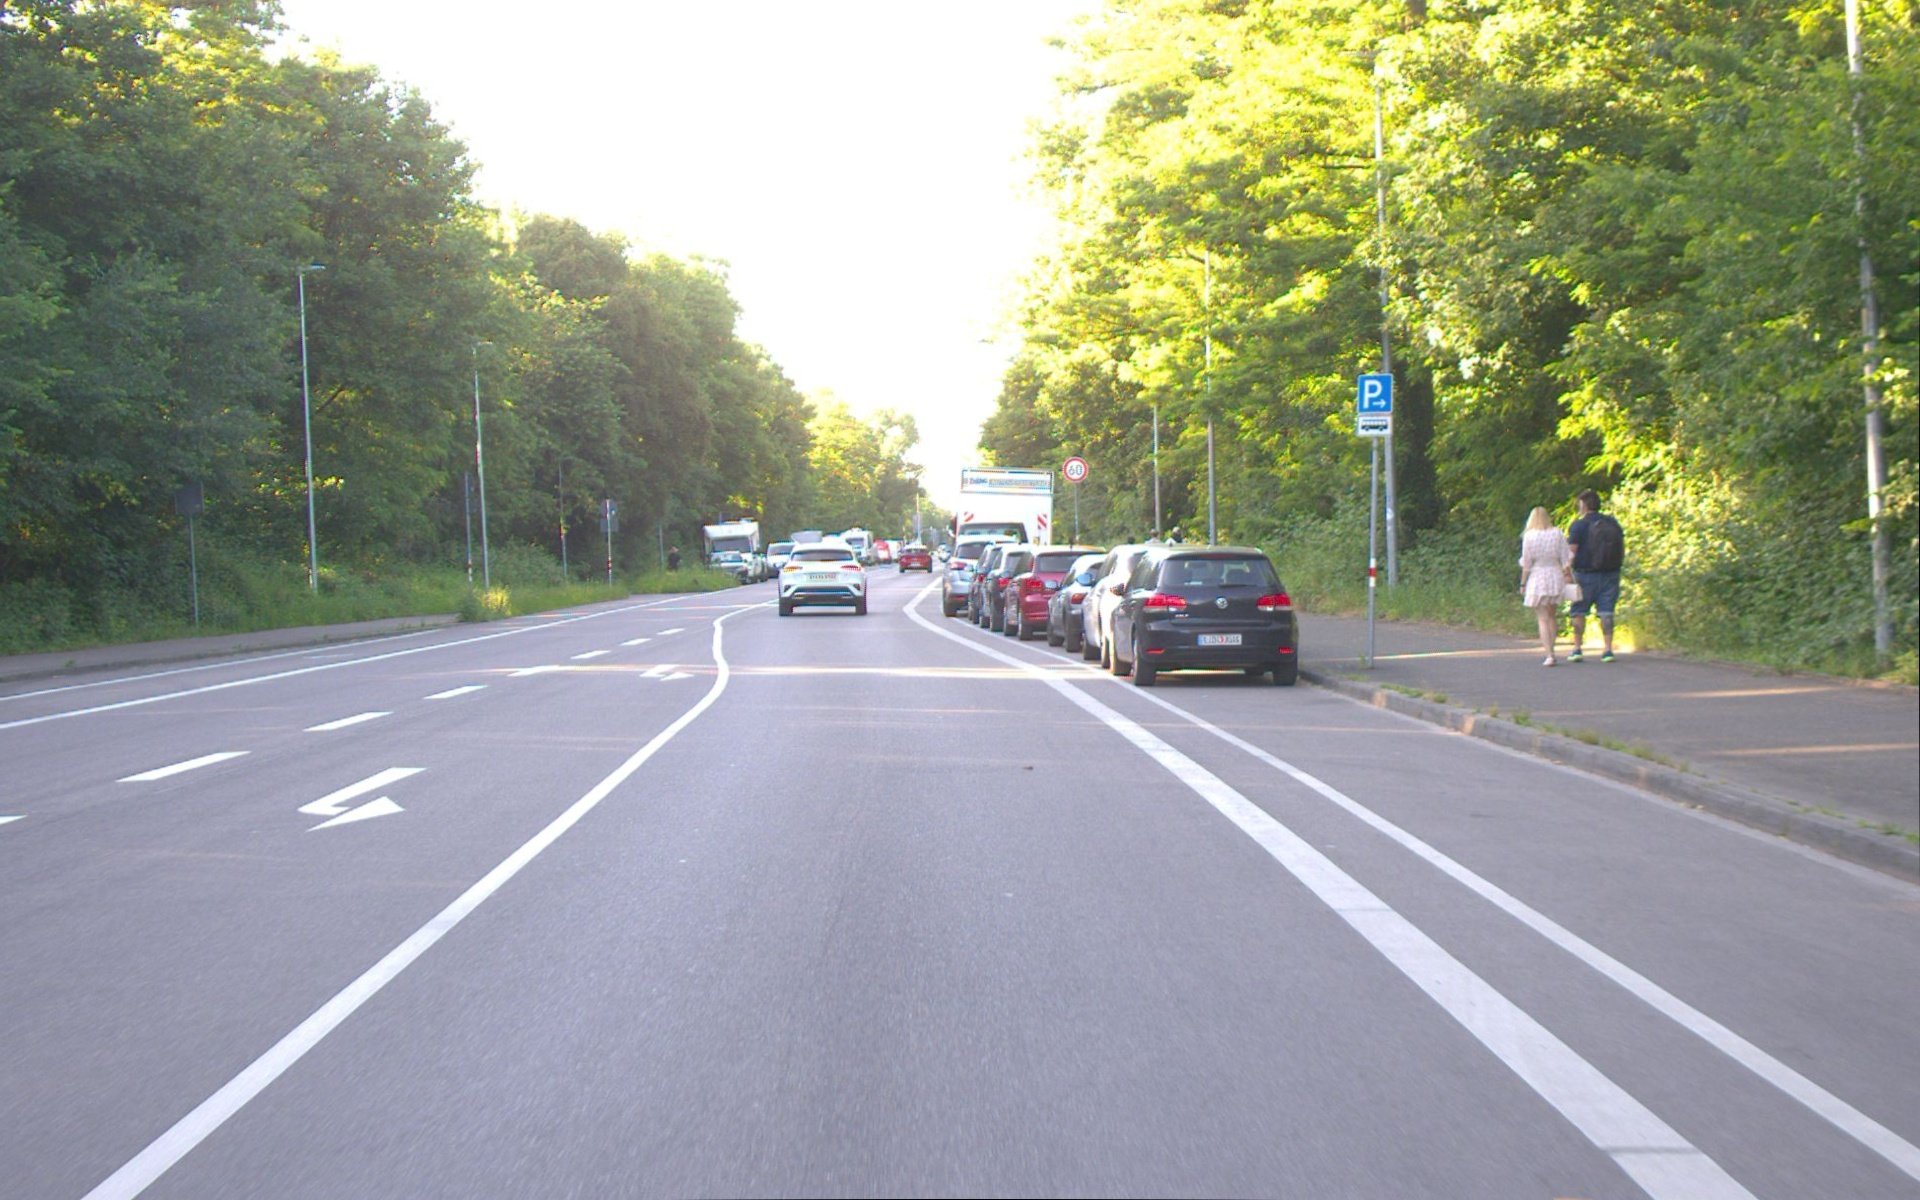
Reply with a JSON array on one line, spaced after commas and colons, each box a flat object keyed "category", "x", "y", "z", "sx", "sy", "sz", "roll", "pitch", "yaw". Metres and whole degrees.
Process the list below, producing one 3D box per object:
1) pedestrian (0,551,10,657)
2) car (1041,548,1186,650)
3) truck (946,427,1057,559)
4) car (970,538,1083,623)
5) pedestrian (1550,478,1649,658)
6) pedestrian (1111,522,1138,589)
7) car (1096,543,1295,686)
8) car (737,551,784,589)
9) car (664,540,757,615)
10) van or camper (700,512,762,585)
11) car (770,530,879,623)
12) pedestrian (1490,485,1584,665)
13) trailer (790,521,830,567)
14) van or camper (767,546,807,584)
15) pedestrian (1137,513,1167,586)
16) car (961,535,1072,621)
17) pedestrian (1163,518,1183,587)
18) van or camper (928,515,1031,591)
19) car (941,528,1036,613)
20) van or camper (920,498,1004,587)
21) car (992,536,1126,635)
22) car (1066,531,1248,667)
[{"category": "pedestrian", "x": -15.189, "y": 0.073, "z": 53.177, "sx": 0.675, "sy": 1.647, "sz": 0.790, "roll": -2, "pitch": 1, "yaw": 5}, {"category": "car", "x": 2.093, "y": -0.046, "z": 47.772, "sx": 1.628, "sy": 1.315, "sz": 3.841, "roll": -1, "pitch": 1, "yaw": -3}, {"category": "truck", "x": 1.104, "y": -2.986, "z": 97.030, "sx": 2.832, "sy": 3.485, "sz": 8.579, "roll": -2, "pitch": 1, "yaw": -1}, {"category": "car", "x": 1.114, "y": -0.362, "z": 59.155, "sx": 1.594, "sy": 1.396, "sz": 3.799, "roll": 0, "pitch": 1, "yaw": -4}, {"category": "pedestrian", "x": 6.602, "y": -0.337, "z": 35.506, "sx": 0.675, "sy": 1.792, "sz": 0.953, "roll": -4, "pitch": 1, "yaw": -5}, {"category": "pedestrian", "x": 3.943, "y": -1.067, "z": 82.343, "sx": 0.563, "sy": 1.582, "sz": 0.482, "roll": -2, "pitch": 1, "yaw": 0}, {"category": "car", "x": 2.529, "y": 0.116, "z": 37.703, "sx": 1.656, "sy": 1.447, "sz": 4.021, "roll": 1, "pitch": 1, "yaw": -3}, {"category": "car", "x": -8.329, "y": -1.268, "z": 143.742, "sx": 1.827, "sy": 1.471, "sz": 4.682, "roll": -3, "pitch": 1, "yaw": -3}, {"category": "car", "x": -5.288, "y": -0.500, "z": 73.295, "sx": 1.807, "sy": 1.514, "sz": 4.505, "roll": 1, "pitch": 1, "yaw": -2}, {"category": "van or camper", "x": -10.004, "y": -2.260, "z": 150.552, "sx": 2.314, "sy": 2.959, "sz": 7.112, "roll": -4, "pitch": 1, "yaw": -2}, {"category": "car", "x": -2.806, "y": -0.514, "z": 71.959, "sx": 2.029, "sy": 1.834, "sz": 4.029, "roll": -2, "pitch": 1, "yaw": 1}, {"category": "pedestrian", "x": 5.930, "y": -0.267, "z": 35.377, "sx": 0.675, "sy": 1.792, "sz": 0.790, "roll": -4, "pitch": 1, "yaw": -5}, {"category": "trailer", "x": -9.043, "y": -3.394, "z": 207.610, "sx": 1.993, "sy": 2.588, "sz": 4.416, "roll": -4, "pitch": 1, "yaw": 1}, {"category": "van or camper", "x": -9.270, "y": -1.886, "z": 184.379, "sx": 1.835, "sy": 1.905, "sz": 4.856, "roll": -3, "pitch": 1, "yaw": 0}, {"category": "pedestrian", "x": 4.722, "y": -1.242, "z": 84.570, "sx": 0.618, "sy": 1.758, "sz": 0.907, "roll": -2, "pitch": 1, "yaw": 0}, {"category": "car", "x": 1.015, "y": -0.433, "z": 64.085, "sx": 1.807, "sy": 1.514, "sz": 4.505, "roll": 1, "pitch": 1, "yaw": -2}, {"category": "pedestrian", "x": 4.964, "y": -1.110, "z": 80.192, "sx": 0.394, "sy": 1.582, "sz": 0.482, "roll": -2, "pitch": 1, "yaw": 0}, {"category": "van or camper", "x": 0.807, "y": -1.862, "z": 134.914, "sx": 2.442, "sy": 2.790, "sz": 6.553, "roll": -2, "pitch": 1, "yaw": 14}, {"category": "car", "x": 0.581, "y": -0.617, "z": 69.066, "sx": 1.798, "sy": 1.589, "sz": 4.029, "roll": -2, "pitch": 1, "yaw": 1}, {"category": "van or camper", "x": 0.083, "y": -1.375, "z": 81.927, "sx": 1.897, "sy": 2.007, "sz": 4.587, "roll": -2, "pitch": 1, "yaw": 1}, {"category": "car", "x": 1.498, "y": -0.248, "z": 53.460, "sx": 1.616, "sy": 1.464, "sz": 3.725, "roll": 0, "pitch": 1, "yaw": -6}, {"category": "car", "x": 2.362, "y": -0.051, "z": 42.244, "sx": 1.737, "sy": 1.519, "sz": 4.360, "roll": -2, "pitch": 1, "yaw": -3}]
